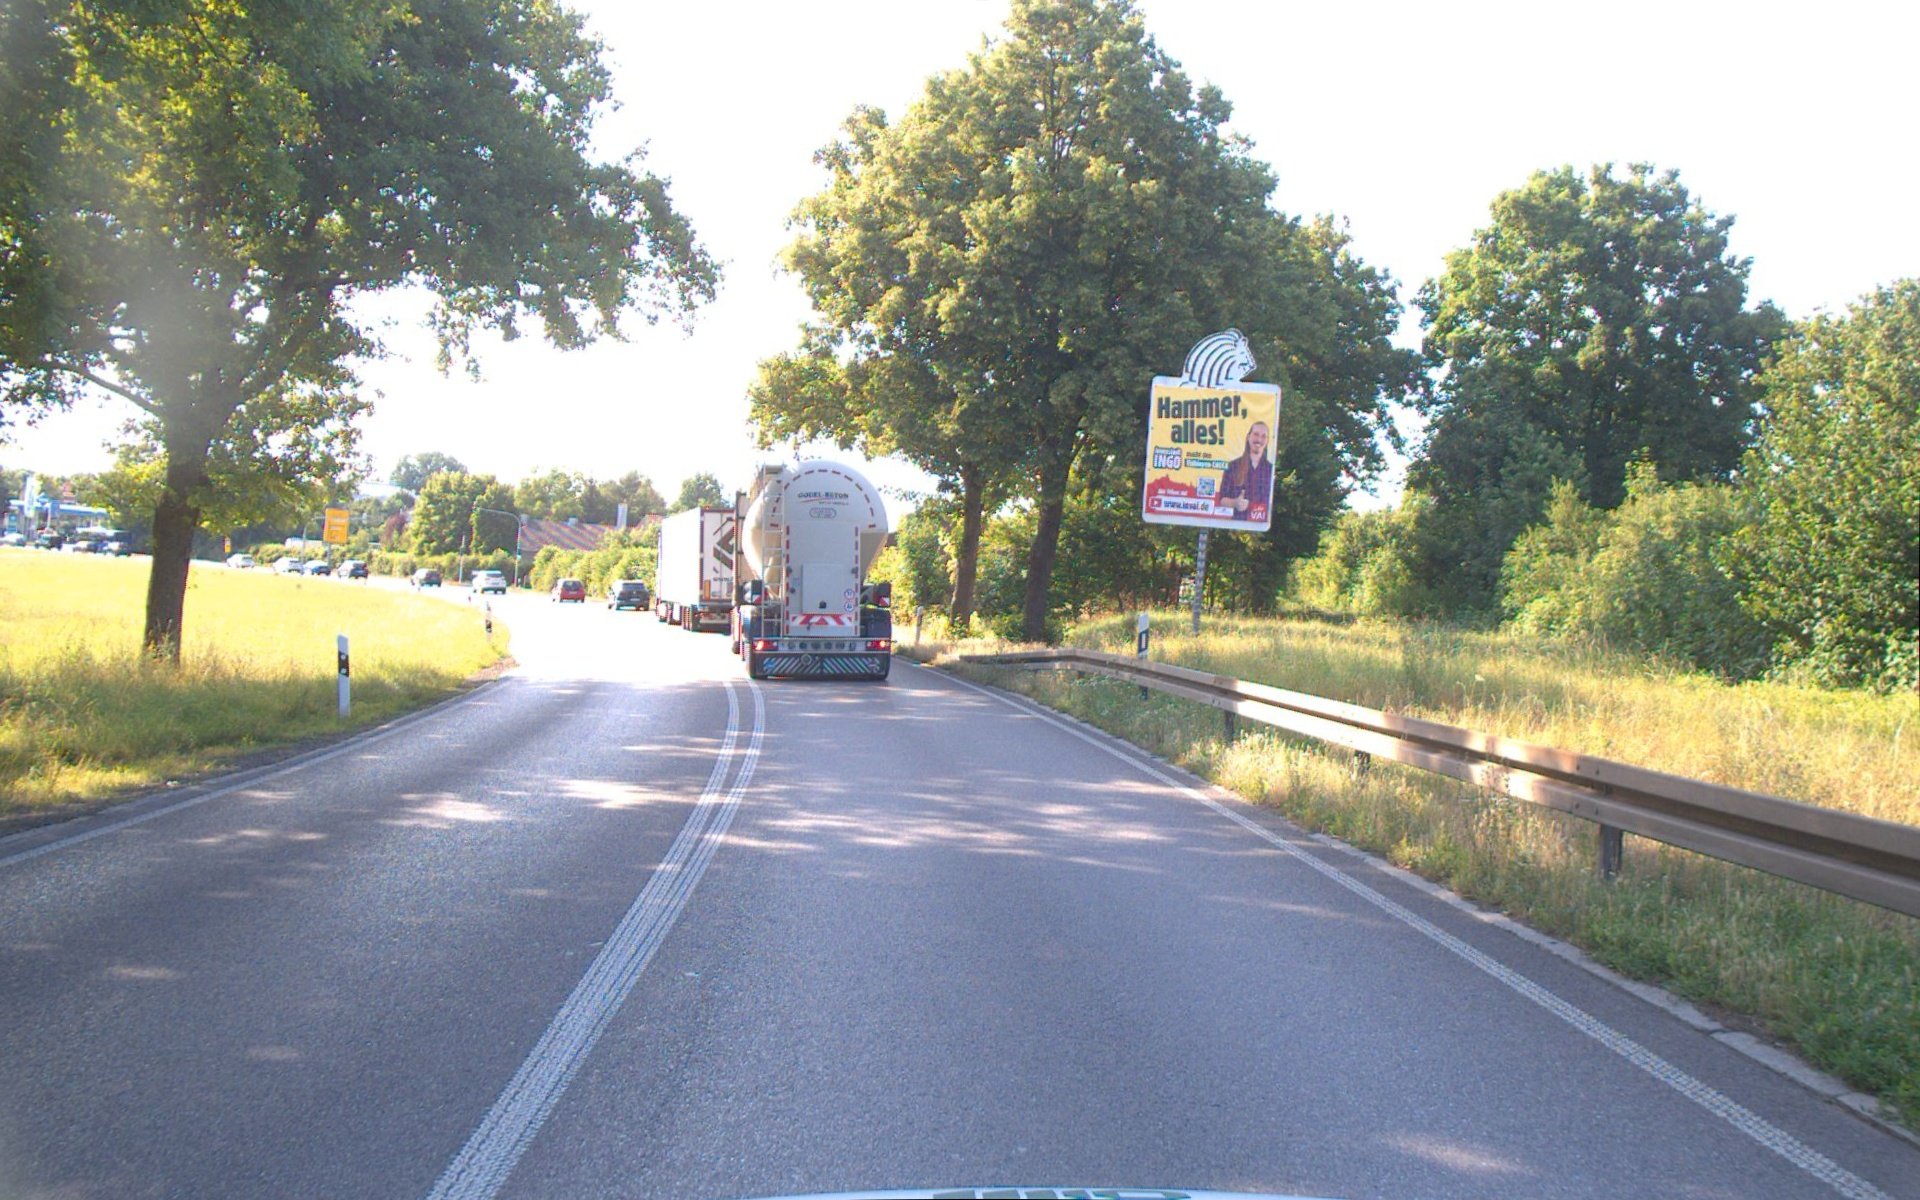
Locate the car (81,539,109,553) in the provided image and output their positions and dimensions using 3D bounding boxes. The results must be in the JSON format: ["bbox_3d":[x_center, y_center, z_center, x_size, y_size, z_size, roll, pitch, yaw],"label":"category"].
[{"bbox_3d":[-112.274,-7.038,214.660,2.077,1.627,3.934,2,1,-45],"label":"car"}]

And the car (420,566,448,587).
[{"bbox_3d":[-44.552,-1.978,140.118,1.503,1.685,3.834,2,0,-30],"label":"car"}]

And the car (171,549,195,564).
[{"bbox_3d":[-94.504,-5.277,201.134,1.716,1.685,3.818,2,0,-39],"label":"car"}]

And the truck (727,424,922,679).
[{"bbox_3d":[-3.103,-0.798,33.891,2.921,4.248,11.635,1,0,-10],"label":"truck"}]

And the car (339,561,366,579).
[{"bbox_3d":[-58.551,-2.864,159.438,1.507,1.685,3.824,2,0,-36],"label":"car"}]

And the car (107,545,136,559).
[{"bbox_3d":[-105.293,-6.064,207.713,2.077,1.627,3.934,2,1,-45],"label":"car"}]

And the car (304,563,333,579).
[{"bbox_3d":[-65.144,-2.966,167.929,1.668,1.586,3.816,2,0,-40],"label":"car"}]

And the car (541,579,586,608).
[{"bbox_3d":[-24.934,-0.402,103.904,2.265,1.685,4.391,1,0,-19],"label":"car"}]

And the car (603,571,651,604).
[{"bbox_3d":[-17.682,-0.651,87.712,1.963,1.685,3.978,1,0,-19],"label":"car"}]

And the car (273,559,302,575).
[{"bbox_3d":[-71.028,-3.488,174.668,1.668,1.586,3.816,2,0,-40],"label":"car"}]

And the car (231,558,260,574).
[{"bbox_3d":[-79.869,-3.829,184.787,1.964,1.685,3.816,2,0,-40],"label":"car"}]

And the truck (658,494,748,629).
[{"bbox_3d":[-10.163,-1.416,64.942,2.912,4.972,6.408,1,0,-14],"label":"truck"}]

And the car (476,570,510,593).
[{"bbox_3d":[-35.139,-1.395,124.385,1.819,1.685,3.967,1,0,-26],"label":"car"}]

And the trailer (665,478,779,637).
[{"bbox_3d":[-8.458,-1.340,57.602,2.913,4.967,10.252,1,0,-13],"label":"trailer"}]
